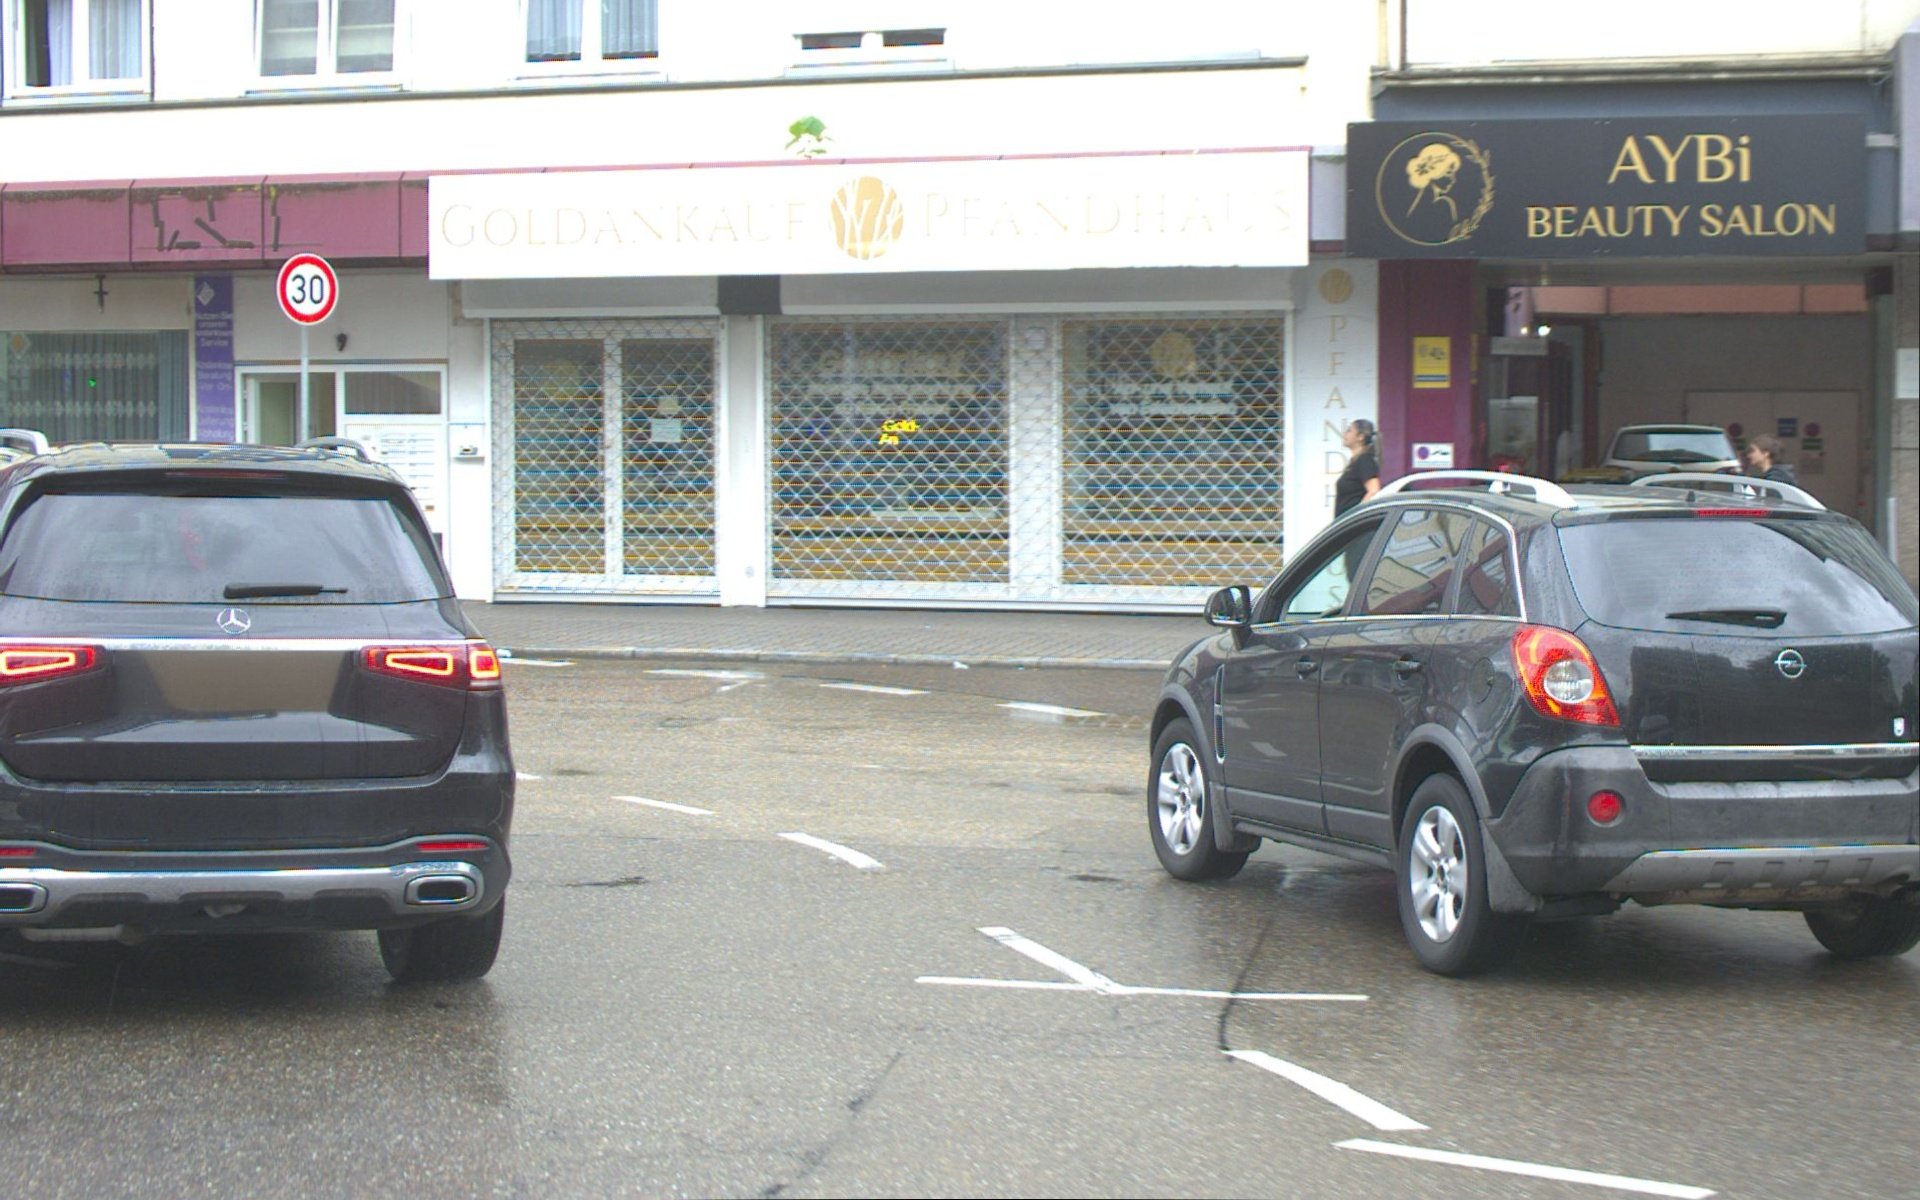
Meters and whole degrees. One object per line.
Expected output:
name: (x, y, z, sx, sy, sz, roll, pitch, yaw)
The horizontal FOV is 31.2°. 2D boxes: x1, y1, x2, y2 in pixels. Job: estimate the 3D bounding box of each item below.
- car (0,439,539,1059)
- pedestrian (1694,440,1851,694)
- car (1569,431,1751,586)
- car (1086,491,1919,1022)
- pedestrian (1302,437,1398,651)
car: (-3.010, 0.338, 12.303, 2.038, 1.792, 4.664, 0, 2, -19)
pedestrian: (5.996, -0.260, 25.415, 1.030, 1.793, 0.830, 1, 6, 9)
car: (7.892, -0.993, 39.008, 1.797, 1.664, 3.999, 0, 0, 8)
car: (2.115, 0.457, 13.352, 1.897, 1.689, 4.507, 1, 1, -16)
pedestrian: (3.166, -0.461, 27.884, 0.753, 1.683, 0.566, 1, 6, 7)
